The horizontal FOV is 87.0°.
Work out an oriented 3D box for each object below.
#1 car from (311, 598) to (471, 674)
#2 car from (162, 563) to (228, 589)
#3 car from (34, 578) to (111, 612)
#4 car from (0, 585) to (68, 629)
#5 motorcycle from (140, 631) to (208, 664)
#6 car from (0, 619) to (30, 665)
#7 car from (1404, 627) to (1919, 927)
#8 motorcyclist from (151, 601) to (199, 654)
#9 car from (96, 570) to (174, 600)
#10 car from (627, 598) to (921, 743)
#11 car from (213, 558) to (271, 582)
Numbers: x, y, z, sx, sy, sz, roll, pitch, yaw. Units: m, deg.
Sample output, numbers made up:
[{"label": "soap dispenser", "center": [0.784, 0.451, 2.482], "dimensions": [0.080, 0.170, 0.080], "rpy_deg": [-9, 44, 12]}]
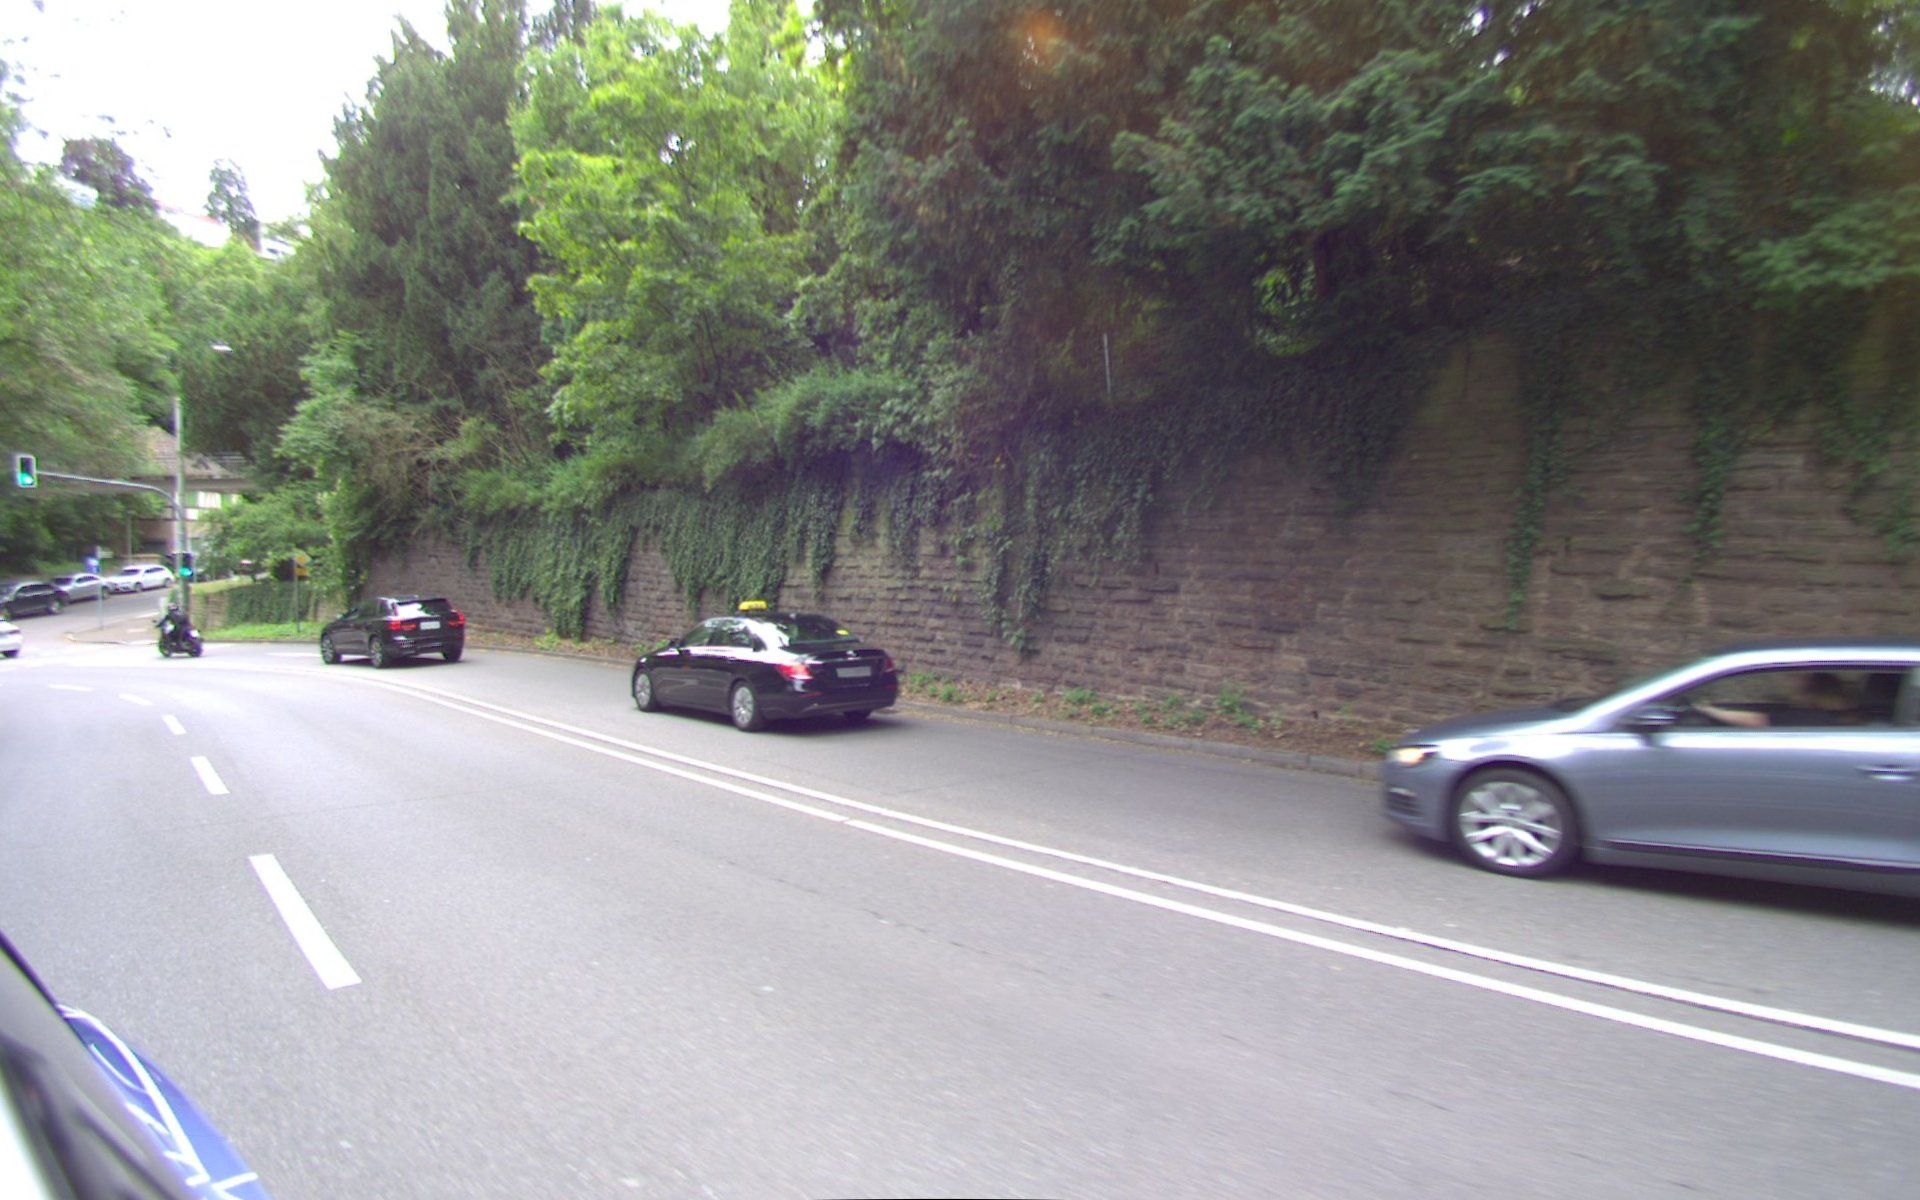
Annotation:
[{"label": "car", "center": [-13.968, 0.830, 24.755], "dimensions": [4.505, 1.661, 1.832], "rpy_deg": [-1, 1, 38]}, {"label": "car", "center": [-49.651, -1.557, 65.797], "dimensions": [1.578, 1.338, 3.920], "rpy_deg": [0, 6, -6]}, {"label": "car", "center": [-48.243, -0.298, 55.082], "dimensions": [1.482, 1.457, 3.273], "rpy_deg": [0, 7, -7]}, {"label": "car", "center": [-45.133, 0.373, 47.915], "dimensions": [1.782, 1.696, 4.548], "rpy_deg": [-1, 6, -2]}, {"label": "motorcycle", "center": [-23.250, 1.382, 29.921], "dimensions": [2.421, 0.896, 0.802], "rpy_deg": [-1, 1, 32]}, {"label": "car", "center": [-33.464, 1.474, 33.425], "dimensions": [4.281, 1.426, 1.747], "rpy_deg": [-2, 3, 10]}, {"label": "car", "center": [4.736, 0.831, 5.477], "dimensions": [3.956, 1.349, 1.753], "rpy_deg": [-1, -1, 39]}, {"label": "motorcyclist", "center": [-23.181, 0.801, 29.883], "dimensions": [1.091, 1.541, 0.741], "rpy_deg": [-1, 1, 32]}, {"label": "car", "center": [-49.115, -0.909, 60.357], "dimensions": [1.604, 1.338, 4.031], "rpy_deg": [1, 6, -6]}, {"label": "car", "center": [-2.682, 0.809, 13.645], "dimensions": [1.839, 1.609, 4.637], "rpy_deg": [0, -1, -40]}, {"label": "car", "center": [-50.206, -2.135, 70.839], "dimensions": [1.578, 1.338, 3.920], "rpy_deg": [0, 6, -6]}]
